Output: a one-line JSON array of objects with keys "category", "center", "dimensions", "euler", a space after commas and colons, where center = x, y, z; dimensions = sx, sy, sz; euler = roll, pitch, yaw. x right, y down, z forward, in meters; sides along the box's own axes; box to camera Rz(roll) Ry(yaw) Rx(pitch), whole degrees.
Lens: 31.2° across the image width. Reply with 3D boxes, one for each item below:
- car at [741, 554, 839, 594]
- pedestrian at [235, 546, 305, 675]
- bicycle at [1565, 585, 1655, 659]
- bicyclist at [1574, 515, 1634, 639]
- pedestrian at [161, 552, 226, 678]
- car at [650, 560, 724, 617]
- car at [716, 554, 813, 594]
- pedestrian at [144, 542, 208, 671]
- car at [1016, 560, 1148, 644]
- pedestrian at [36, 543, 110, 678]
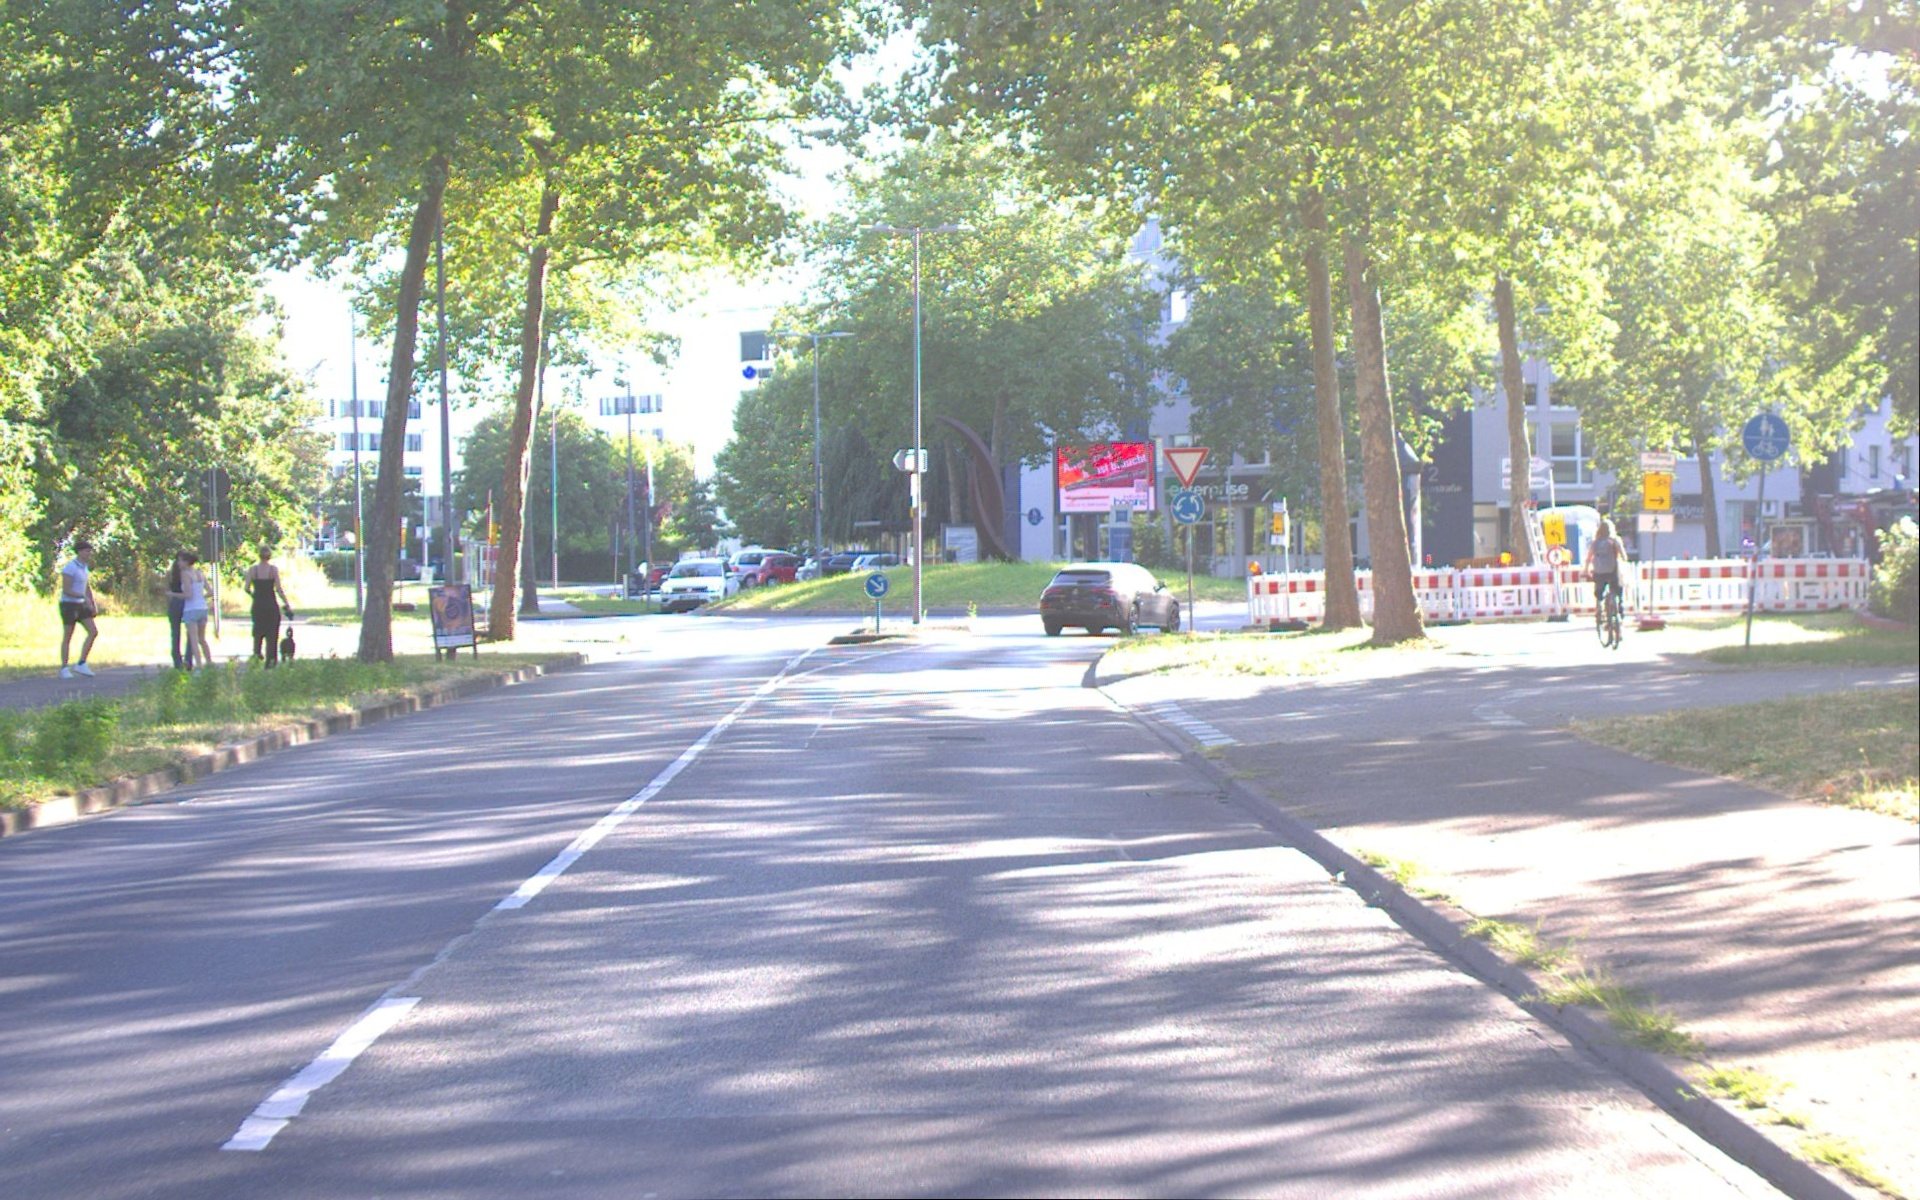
[{"category": "car", "center": [-7.606, -1.169, 153.670], "dimensions": [3.986, 1.741, 1.795], "euler": [0, 1, -30]}, {"category": "pedestrian", "center": [-9.369, 0.137, 46.697], "dimensions": [0.748, 1.733, 0.852], "euler": [0, 0, 1]}, {"category": "bicycle", "center": [8.903, 0.293, 47.168], "dimensions": [0.770, 0.961, 2.174], "euler": [-2, 0, -1]}, {"category": "bicyclist", "center": [8.902, -0.320, 47.533], "dimensions": [0.651, 1.699, 0.871], "euler": [1, 1, 0]}, {"category": "pedestrian", "center": [-9.972, 0.192, 44.720], "dimensions": [0.575, 1.632, 0.634], "euler": [0, 0, 19]}, {"category": "car", "center": [-7.776, -0.344, 98.216], "dimensions": [1.993, 1.573, 4.000], "euler": [0, 0, -3]}, {"category": "car", "center": [-8.892, -1.177, 156.377], "dimensions": [3.986, 1.741, 1.795], "euler": [0, 1, -30]}, {"category": "pedestrian", "center": [-10.637, 0.086, 46.649], "dimensions": [0.665, 1.733, 0.751], "euler": [0, 0, 1]}, {"category": "car", "center": [2.455, 0.020, 68.291], "dimensions": [1.840, 1.600, 3.860], "euler": [0, 1, 14]}, {"category": "pedestrian", "center": [-11.489, 0.134, 44.543], "dimensions": [0.634, 1.733, 0.663], "euler": [0, 0, 35]}]
